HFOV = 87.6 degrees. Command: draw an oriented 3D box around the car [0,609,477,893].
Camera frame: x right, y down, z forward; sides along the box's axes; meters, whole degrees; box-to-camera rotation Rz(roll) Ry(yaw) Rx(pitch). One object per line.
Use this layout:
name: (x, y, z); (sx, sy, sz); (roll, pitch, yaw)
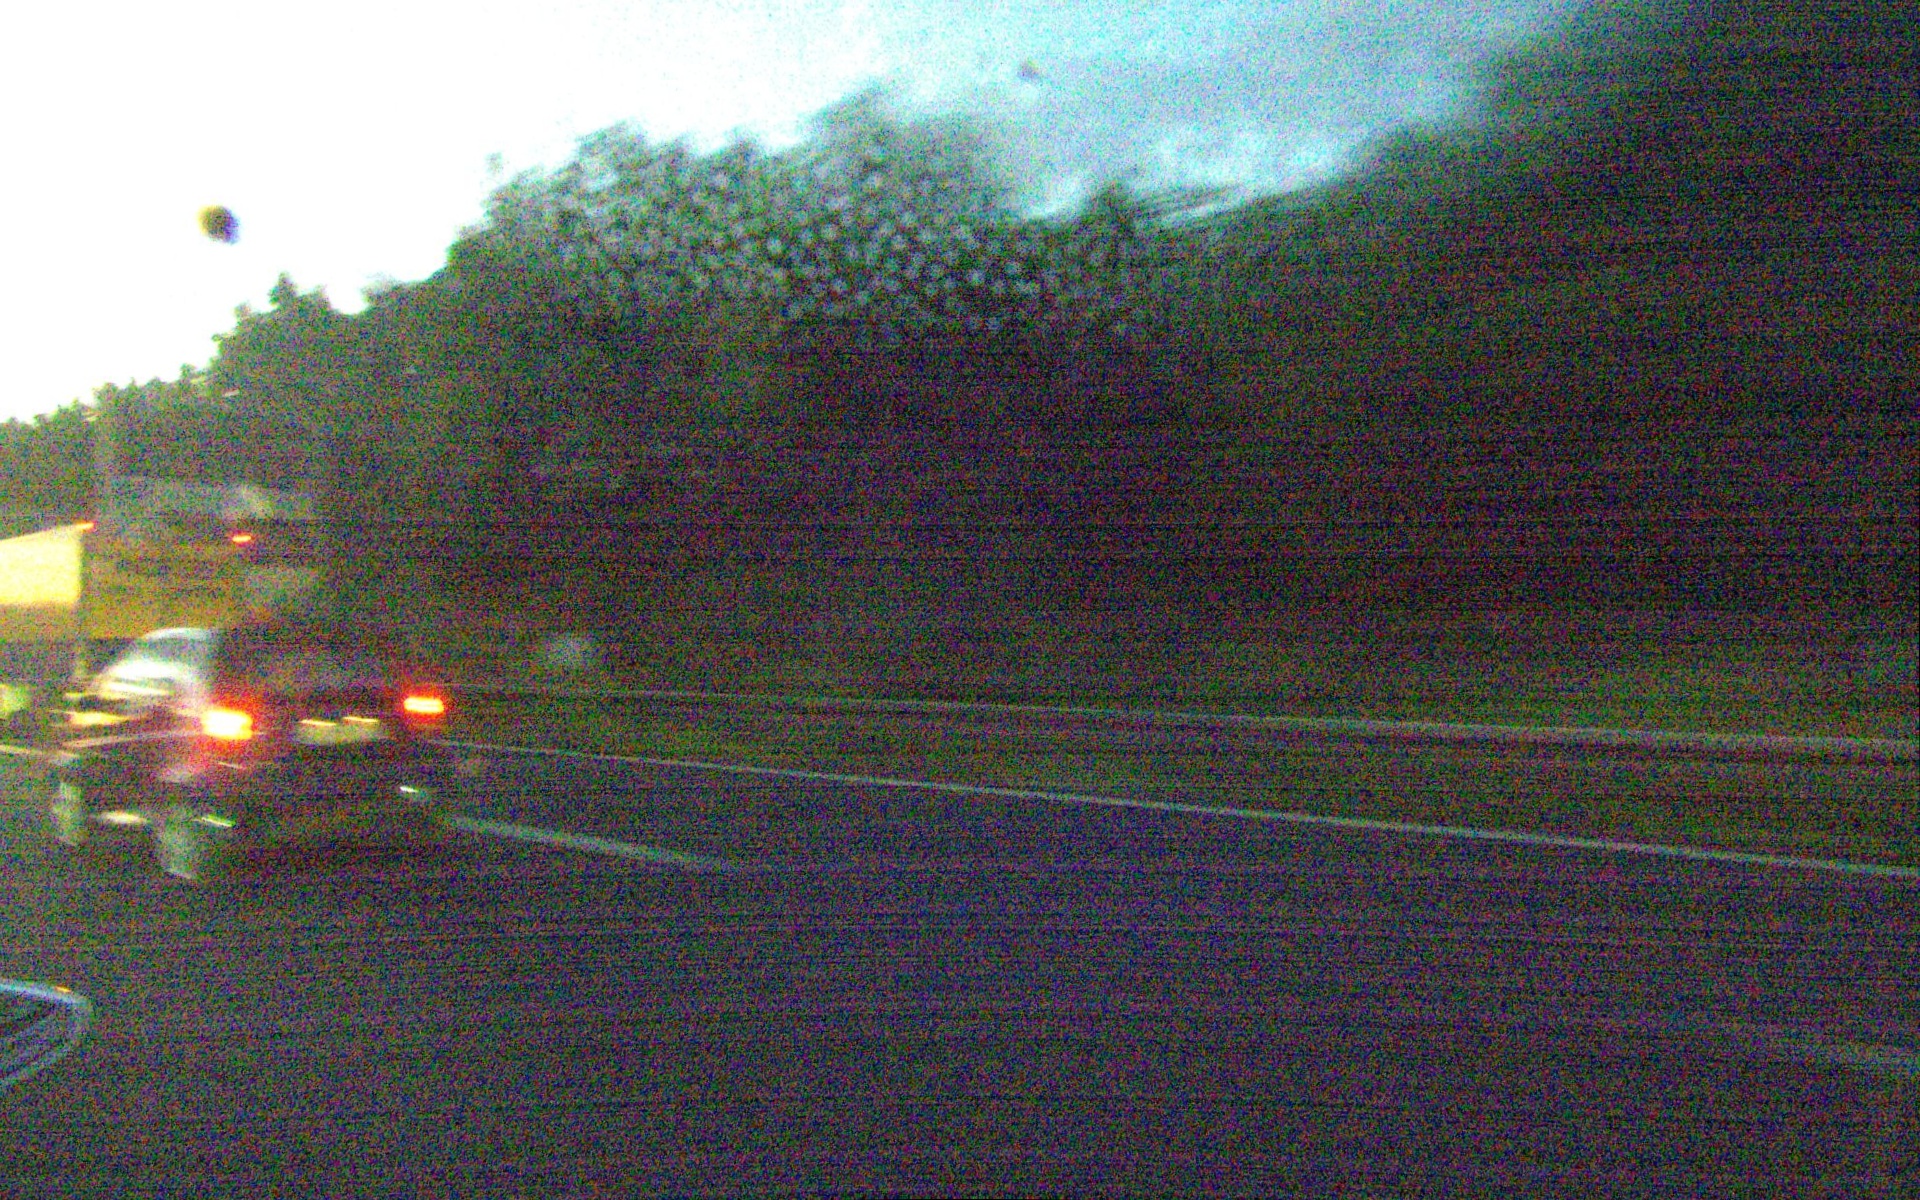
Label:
car: (-5.176, 0.894, 7.124); (3.270, 1.576, 1.608); (-2, -1, 31)

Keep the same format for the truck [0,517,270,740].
truck: (-14.045, 0.496, 16.229); (6.536, 3.009, 2.265); (-1, -3, 32)
